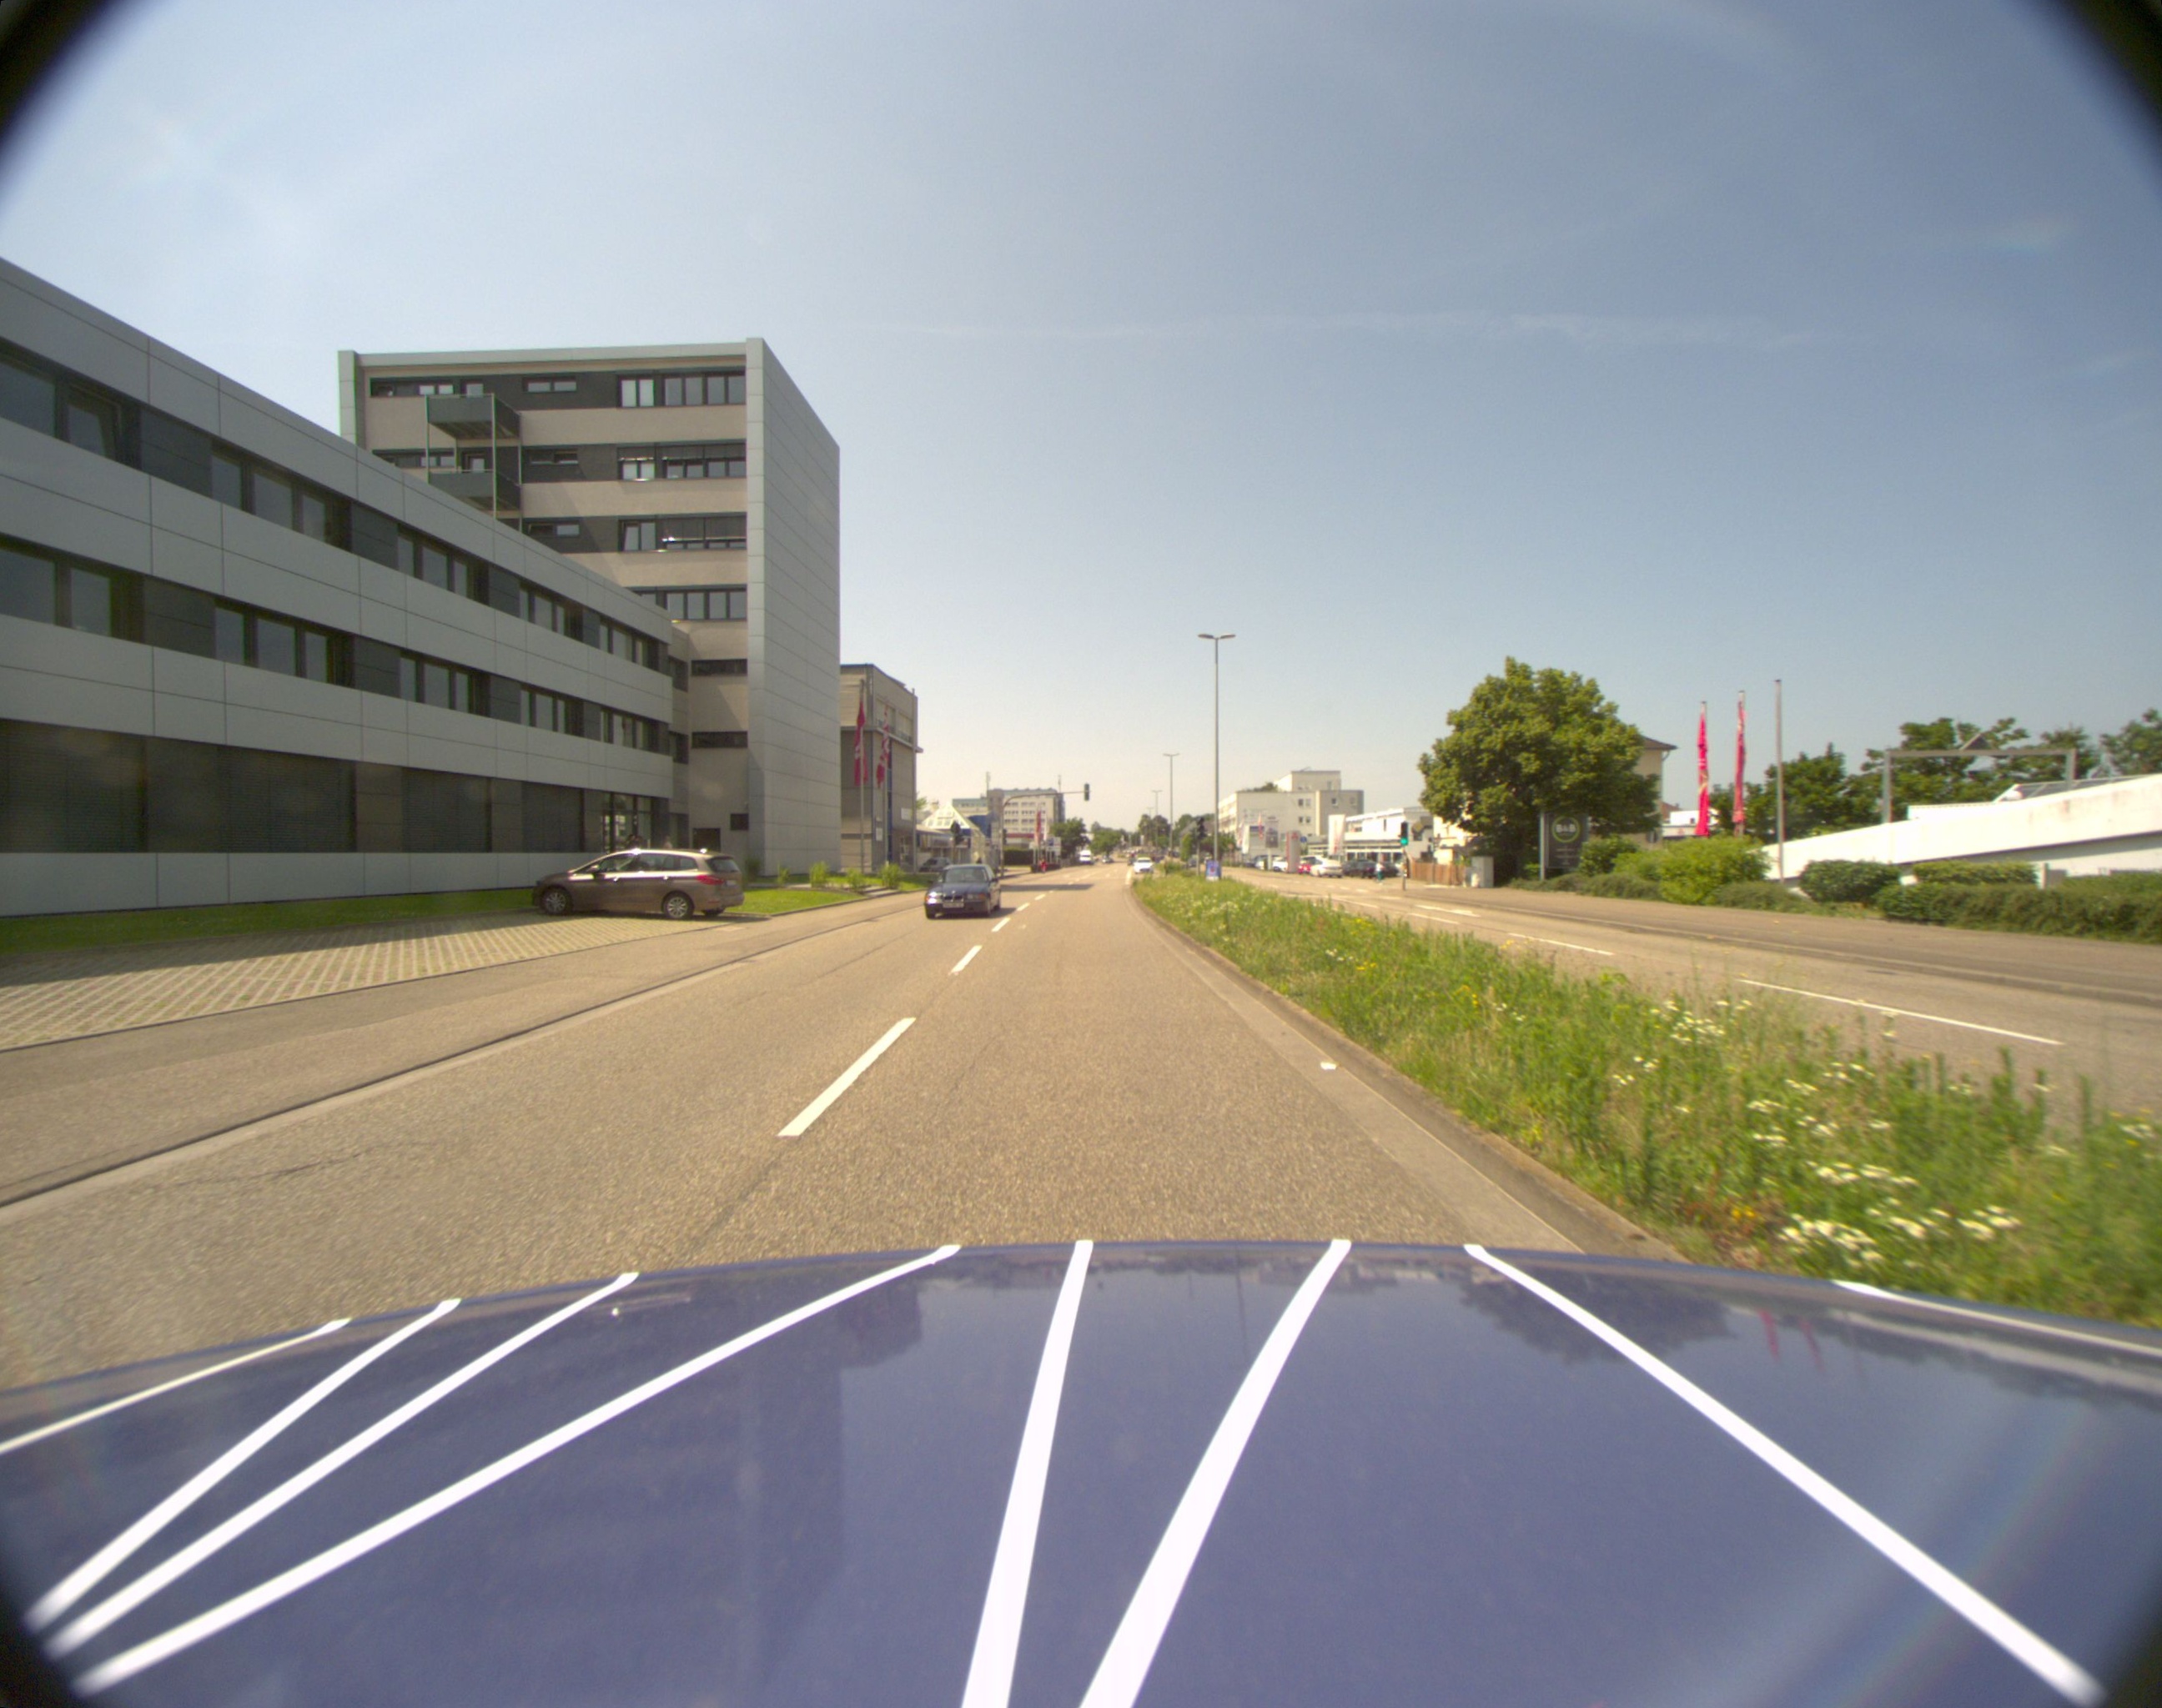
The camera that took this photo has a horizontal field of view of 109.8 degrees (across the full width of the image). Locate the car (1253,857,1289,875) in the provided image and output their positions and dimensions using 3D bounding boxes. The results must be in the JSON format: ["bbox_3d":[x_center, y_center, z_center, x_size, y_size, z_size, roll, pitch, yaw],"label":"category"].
[{"bbox_3d":[23.987,1.514,96.022,3.996,1.559,1.760,10,1,2],"label":"car"}]

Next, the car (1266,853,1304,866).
[{"bbox_3d":[23.527,0.657,87.641,3.996,1.458,1.760,0,0,3],"label":"car"}]

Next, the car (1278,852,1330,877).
[{"bbox_3d":[22.578,1.068,77.126,4.557,1.699,1.760,-10,0,3],"label":"car"}]

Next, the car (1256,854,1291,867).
[{"bbox_3d":[23.661,0.829,93.628,3.995,1.599,1.926,0,0,6],"label":"car"}]

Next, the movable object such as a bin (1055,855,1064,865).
[{"bbox_3d":[-3.255,0.879,116.173,1.133,1.461,1.490,0,0,5],"label":"movable object such as a bin"}]

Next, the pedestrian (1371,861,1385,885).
[{"bbox_3d":[21.751,1.364,55.639,0.742,1.737,1.034,0,0,6],"label":"pedestrian"}]

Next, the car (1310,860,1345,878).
[{"bbox_3d":[20.798,1.234,64.185,1.779,1.402,4.761,1,0,5],"label":"car"}]

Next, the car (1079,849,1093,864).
[{"bbox_3d":[0.961,0.491,145.077,2.182,2.757,7.280,2,0,3],"label":"car"}]

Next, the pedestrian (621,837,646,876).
[{"bbox_3d":[-16.595,0.091,28.204,0.523,1.397,0.799,0,0,-6],"label":"pedestrian"}]

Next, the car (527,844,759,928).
[{"bbox_3d":[-10.211,0.717,17.988,4.270,1.679,2.000,3,1,0],"label":"car"}]

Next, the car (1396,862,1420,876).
[{"bbox_3d":[31.520,1.434,73.225,1.646,1.244,4.008,1,0,30],"label":"car"}]

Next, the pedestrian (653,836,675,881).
[{"bbox_3d":[-15.544,0.173,28.344,0.523,1.653,0.756,0,0,-14],"label":"pedestrian"}]

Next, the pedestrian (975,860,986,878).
[{"bbox_3d":[-9.324,1.394,70.555,0.811,1.618,0.853,0,1,7],"label":"pedestrian"}]

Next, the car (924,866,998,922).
[{"bbox_3d":[-3.200,1.020,20.890,1.632,1.331,3.755,-1,0,-4],"label":"car"}]

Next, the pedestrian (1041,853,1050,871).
[{"bbox_3d":[-3.500,0.789,74.610,0.787,1.836,0.936,0,0,6],"label":"pedestrian"}]

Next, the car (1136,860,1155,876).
[{"bbox_3d":[5.959,1.232,70.035,1.692,1.425,3.712,0,0,4],"label":"car"}]

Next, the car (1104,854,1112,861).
[{"bbox_3d":[6.749,0.848,188.410,1.866,1.550,4.001,0,0,3],"label":"car"}]

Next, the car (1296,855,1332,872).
[{"bbox_3d":[22.382,0.890,72.876,1.834,1.632,4.187,0,0,39],"label":"car"}]

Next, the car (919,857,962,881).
[{"bbox_3d":[-9.754,1.022,53.029,1.848,1.522,4.198,-2,0,4],"label":"car"}]

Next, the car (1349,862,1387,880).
[{"bbox_3d":[23.743,1.390,63.046,1.736,1.343,4.000,0,0,1],"label":"car"}]

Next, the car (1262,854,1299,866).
[{"bbox_3d":[23.477,0.685,89.526,3.996,1.386,1.860,0,0,3],"label":"car"}]

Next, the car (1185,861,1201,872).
[{"bbox_3d":[16.569,1.816,112.596,1.998,1.477,4.503,0,0,4],"label":"car"}]

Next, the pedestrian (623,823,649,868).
[{"bbox_3d":[-15.894,-0.301,27.162,0.594,1.625,0.524,1,0,12],"label":"pedestrian"}]

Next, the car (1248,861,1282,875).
[{"bbox_3d":[24.031,1.842,99.225,3.996,1.599,1.760,4,0,3],"label":"car"}]

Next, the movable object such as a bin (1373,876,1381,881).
[{"bbox_3d":[21.819,1.811,55.986,0.417,0.370,0.507,0,0,5],"label":"movable object such as a bin"}]

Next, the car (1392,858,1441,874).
[{"bbox_3d":[33.159,1.191,75.215,3.996,1.605,1.866,0,0,4],"label":"car"}]

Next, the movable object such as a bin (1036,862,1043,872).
[{"bbox_3d":[-3.911,1.194,71.071,0.552,0.914,0.653,3,1,5],"label":"movable object such as a bin"}]

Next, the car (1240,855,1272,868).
[{"bbox_3d":[24.160,1.022,105.043,3.996,1.871,2.000,0,0,3],"label":"car"}]

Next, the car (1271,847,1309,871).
[{"bbox_3d":[23.403,0.562,85.139,4.001,1.617,1.755,-19,11,-32],"label":"car"}]

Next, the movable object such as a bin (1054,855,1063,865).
[{"bbox_3d":[-3.366,0.909,114.481,1.133,1.461,1.490,0,0,5],"label":"movable object such as a bin"}]
